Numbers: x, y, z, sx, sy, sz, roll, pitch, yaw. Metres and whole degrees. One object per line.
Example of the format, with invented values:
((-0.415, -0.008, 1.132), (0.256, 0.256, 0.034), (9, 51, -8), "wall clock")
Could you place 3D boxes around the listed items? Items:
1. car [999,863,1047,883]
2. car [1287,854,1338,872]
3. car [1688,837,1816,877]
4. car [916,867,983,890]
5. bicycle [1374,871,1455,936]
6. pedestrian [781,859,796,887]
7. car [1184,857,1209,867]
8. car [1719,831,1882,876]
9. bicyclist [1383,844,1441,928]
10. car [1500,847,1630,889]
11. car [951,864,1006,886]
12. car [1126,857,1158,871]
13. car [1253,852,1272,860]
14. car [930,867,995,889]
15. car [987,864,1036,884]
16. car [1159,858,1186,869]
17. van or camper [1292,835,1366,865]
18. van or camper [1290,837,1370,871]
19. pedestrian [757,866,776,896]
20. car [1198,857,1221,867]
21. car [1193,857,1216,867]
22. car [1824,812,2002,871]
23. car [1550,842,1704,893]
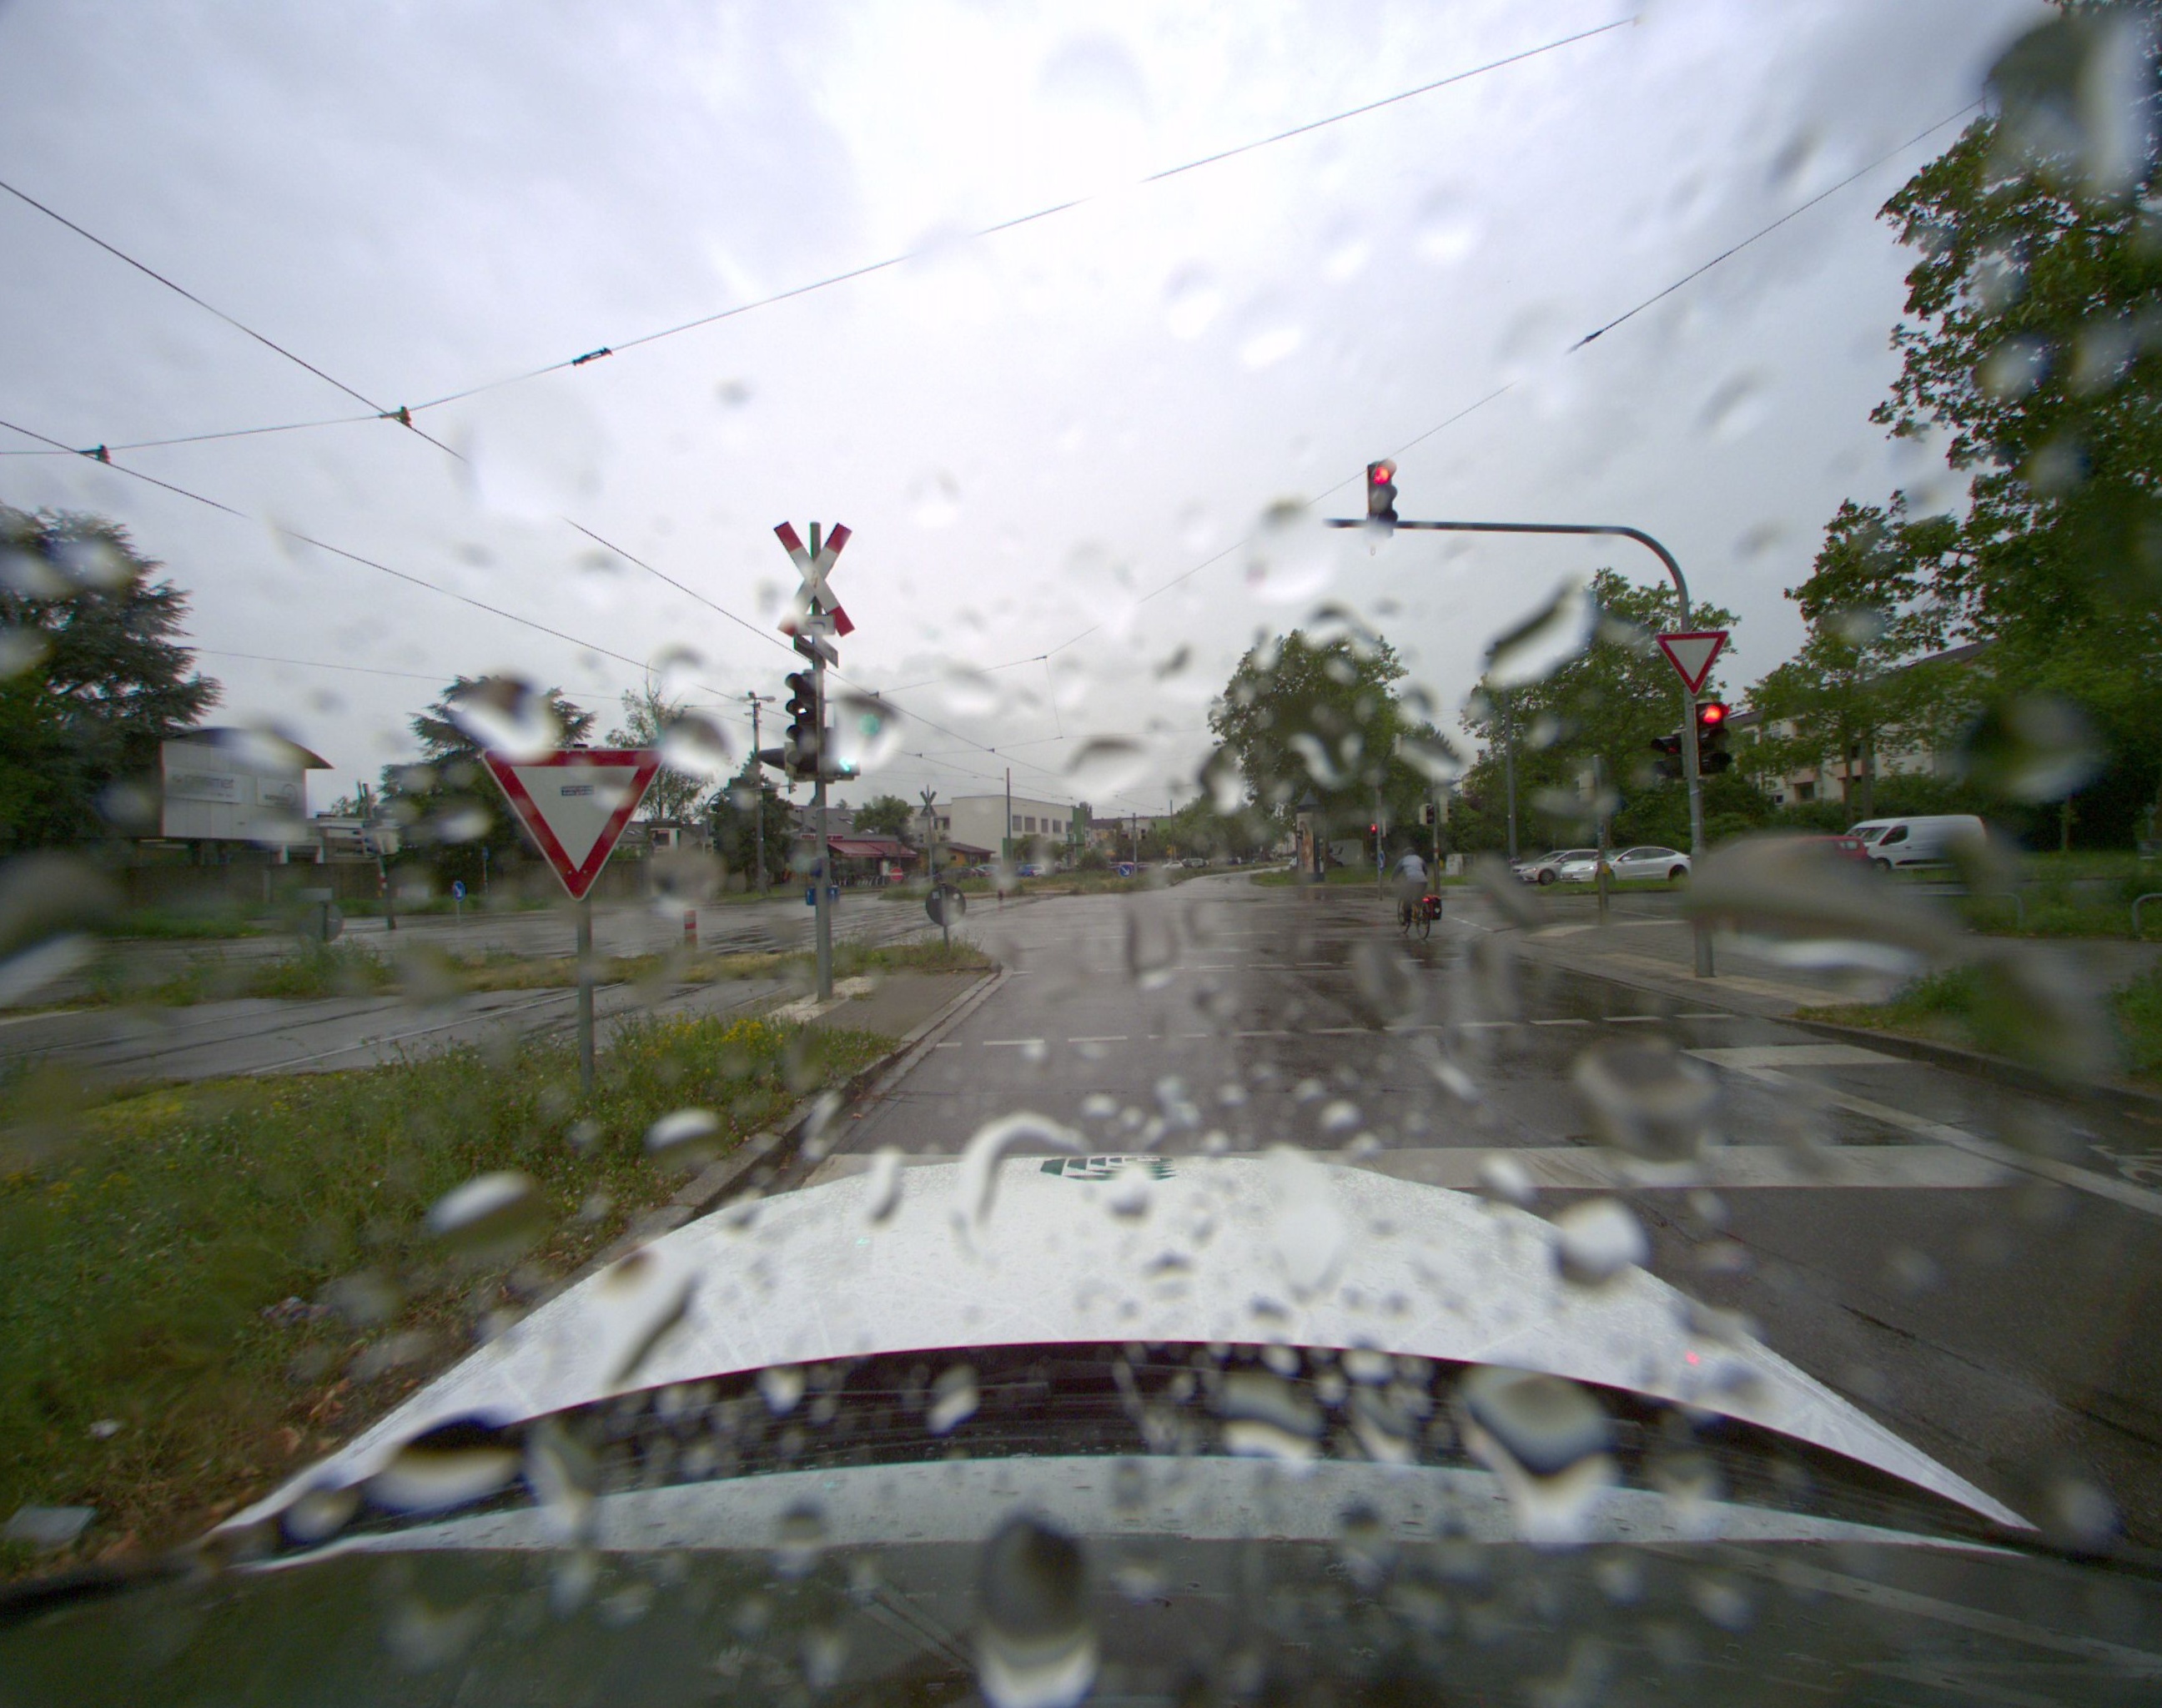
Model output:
((-5.233, 1.681, 73.147), (4.112, 1.641, 1.922), (-1, -1, -12), "car")
((21.987, 0.851, 77.182), (4.405, 1.717, 2.011), (-1, -1, 23), "car")
((28.261, 0.122, 34.366), (4.048, 1.607, 1.788), (0, -1, -5), "car")
((-9.568, 1.776, 59.315), (4.459, 1.418, 1.860), (-3, -1, 3), "car")
((6.099, 0.879, 14.997), (0.688, 1.117, 1.884), (-1, -1, -1), "bicycle")
((-21.536, 1.395, 59.893), (0.718, 2.014, 0.797), (-1, -1, 13), "pedestrian")
((20.411, 1.489, 144.560), (3.986, 1.759, 2.004), (0, -1, -10), "car")
((26.973, -0.008, 30.611), (4.589, 1.607, 1.790), (0, -1, -1), "car")
((6.092, 0.579, 15.013), (0.688, 1.506, 0.844), (-1, -1, -1), "bicyclist")
((20.151, 0.575, 34.016), (4.385, 1.691, 1.931), (0, -1, -5), "car")
((-8.195, 1.663, 65.002), (3.966, 1.582, 1.862), (-2, -1, 6), "car")
((8.211, 1.328, 110.087), (3.980, 1.887, 1.997), (0, -1, -5), "car")
((44.047, 0.503, 197.855), (3.977, 1.832, 1.998), (0, -1, -3), "car")
((-8.936, 1.802, 61.666), (4.478, 1.418, 1.860), (-3, -1, 3), "car")
((-5.994, 1.671, 70.047), (3.986, 1.582, 1.924), (-1, -1, -9), "car")
((14.210, 1.512, 126.580), (3.772, 1.702, 1.832), (0, -1, -8), "car")
((27.144, -0.368, 89.068), (7.359, 3.178, 3.281), (-1, -1, 24), "van or camper")
((24.476, 0.061, 80.004), (7.261, 3.178, 3.278), (-1, -1, 20), "van or camper")
((-19.309, 1.636, 50.062), (0.720, 1.797, 0.889), (0, 0, 9), "pedestrian")
((24.970, 1.592, 158.492), (3.977, 1.832, 1.998), (0, -1, -3), "car")
((23.232, 1.543, 153.461), (3.986, 1.832, 1.993), (0, -1, -10), "car")
((35.126, -0.500, 34.472), (5.589, 2.392, 1.999), (0, -1, -2), "car")
((20.464, 0.510, 30.628), (4.585, 1.828, 1.931), (0, -1, -5), "car")
